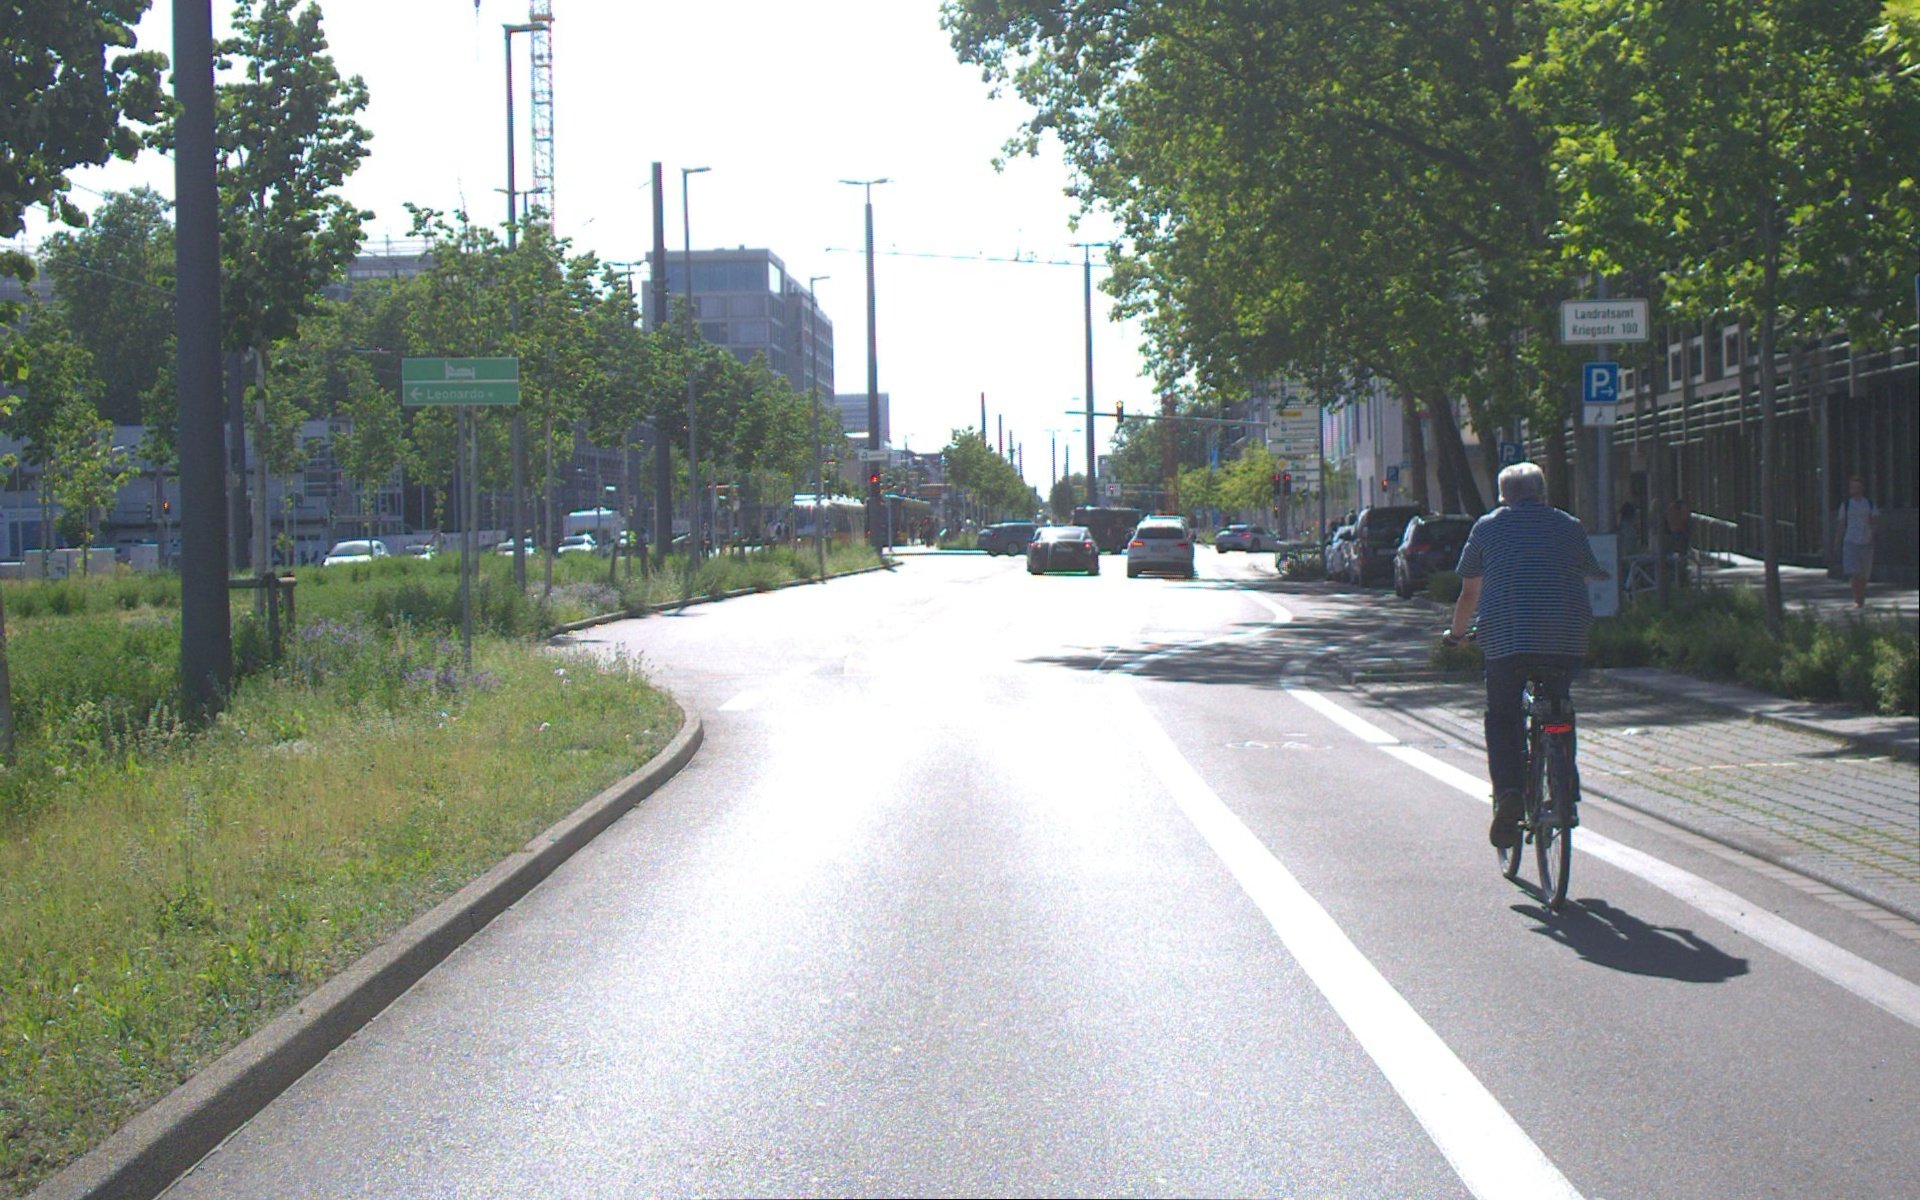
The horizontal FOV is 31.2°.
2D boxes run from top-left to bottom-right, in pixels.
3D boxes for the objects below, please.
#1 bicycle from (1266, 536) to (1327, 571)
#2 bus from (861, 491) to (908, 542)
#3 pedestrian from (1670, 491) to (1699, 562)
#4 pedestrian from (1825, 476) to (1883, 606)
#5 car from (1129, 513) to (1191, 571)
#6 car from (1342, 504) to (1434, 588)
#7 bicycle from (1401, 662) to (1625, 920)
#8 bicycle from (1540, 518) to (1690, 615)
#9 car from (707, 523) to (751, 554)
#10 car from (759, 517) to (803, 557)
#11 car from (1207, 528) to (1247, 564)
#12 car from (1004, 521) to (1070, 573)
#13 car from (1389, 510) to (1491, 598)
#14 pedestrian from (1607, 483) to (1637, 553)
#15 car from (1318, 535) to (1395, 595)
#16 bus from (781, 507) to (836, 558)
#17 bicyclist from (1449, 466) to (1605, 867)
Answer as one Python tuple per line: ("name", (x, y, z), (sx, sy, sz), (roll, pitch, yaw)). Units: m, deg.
("bicycle", (9.722, -1.349, 99.312), (1.693, 0.954, 0.478), (-2, 1, -1))
("bus", (-4.631, -5.097, 212.364), (2.627, 2.949, 9.899), (1, 1, 0))
("pedestrian", (16.500, -1.678, 78.309), (0.553, 1.597, 0.573), (0, 1, 3))
("pedestrian", (11.865, -0.785, 45.644), (0.511, 1.695, 0.774), (-3, 1, 2))
("car", (5.831, -1.699, 99.864), (1.722, 1.612, 4.186), (-1, 1, 4))
("car", (9.732, -1.260, 78.329), (1.704, 1.783, 4.192), (-3, 1, 3))
("bicycle", (2.267, 0.753, 14.314), (0.497, 0.902, 2.197), (1, 1, -2))
("bicycle", (9.210, -0.470, 48.361), (1.937, 1.232, 0.579), (-4, 1, 0))
("car", (-9.081, -2.408, 135.494), (1.376, 1.174, 3.220), (1, 1, 2))
("car", (-8.522, -3.006, 164.115), (1.896, 1.809, 4.000), (1, 0, 0))
("car", (12.737, -2.578, 164.076), (1.662, 1.643, 3.701), (1, 0, 1))
("car", (2.345, -1.607, 103.657), (1.912, 1.481, 4.009), (-1, 1, 2))
("car", (9.330, -0.926, 67.069), (1.704, 1.637, 4.635), (-1, 1, 5))
("pedestrian", (15.071, -1.874, 78.236), (0.505, 1.579, 0.635), (-1, 1, -6))
("car", (10.462, -0.934, 90.922), (1.704, 1.487, 4.600), (-1, 1, 3))
("bus", (-8.589, -3.799, 195.419), (2.627, 2.773, 8.844), (1, 1, 0))
("bicyclist", (2.305, 0.261, 14.010), (0.512, 1.595, 0.536), (-1, 1, -2))
